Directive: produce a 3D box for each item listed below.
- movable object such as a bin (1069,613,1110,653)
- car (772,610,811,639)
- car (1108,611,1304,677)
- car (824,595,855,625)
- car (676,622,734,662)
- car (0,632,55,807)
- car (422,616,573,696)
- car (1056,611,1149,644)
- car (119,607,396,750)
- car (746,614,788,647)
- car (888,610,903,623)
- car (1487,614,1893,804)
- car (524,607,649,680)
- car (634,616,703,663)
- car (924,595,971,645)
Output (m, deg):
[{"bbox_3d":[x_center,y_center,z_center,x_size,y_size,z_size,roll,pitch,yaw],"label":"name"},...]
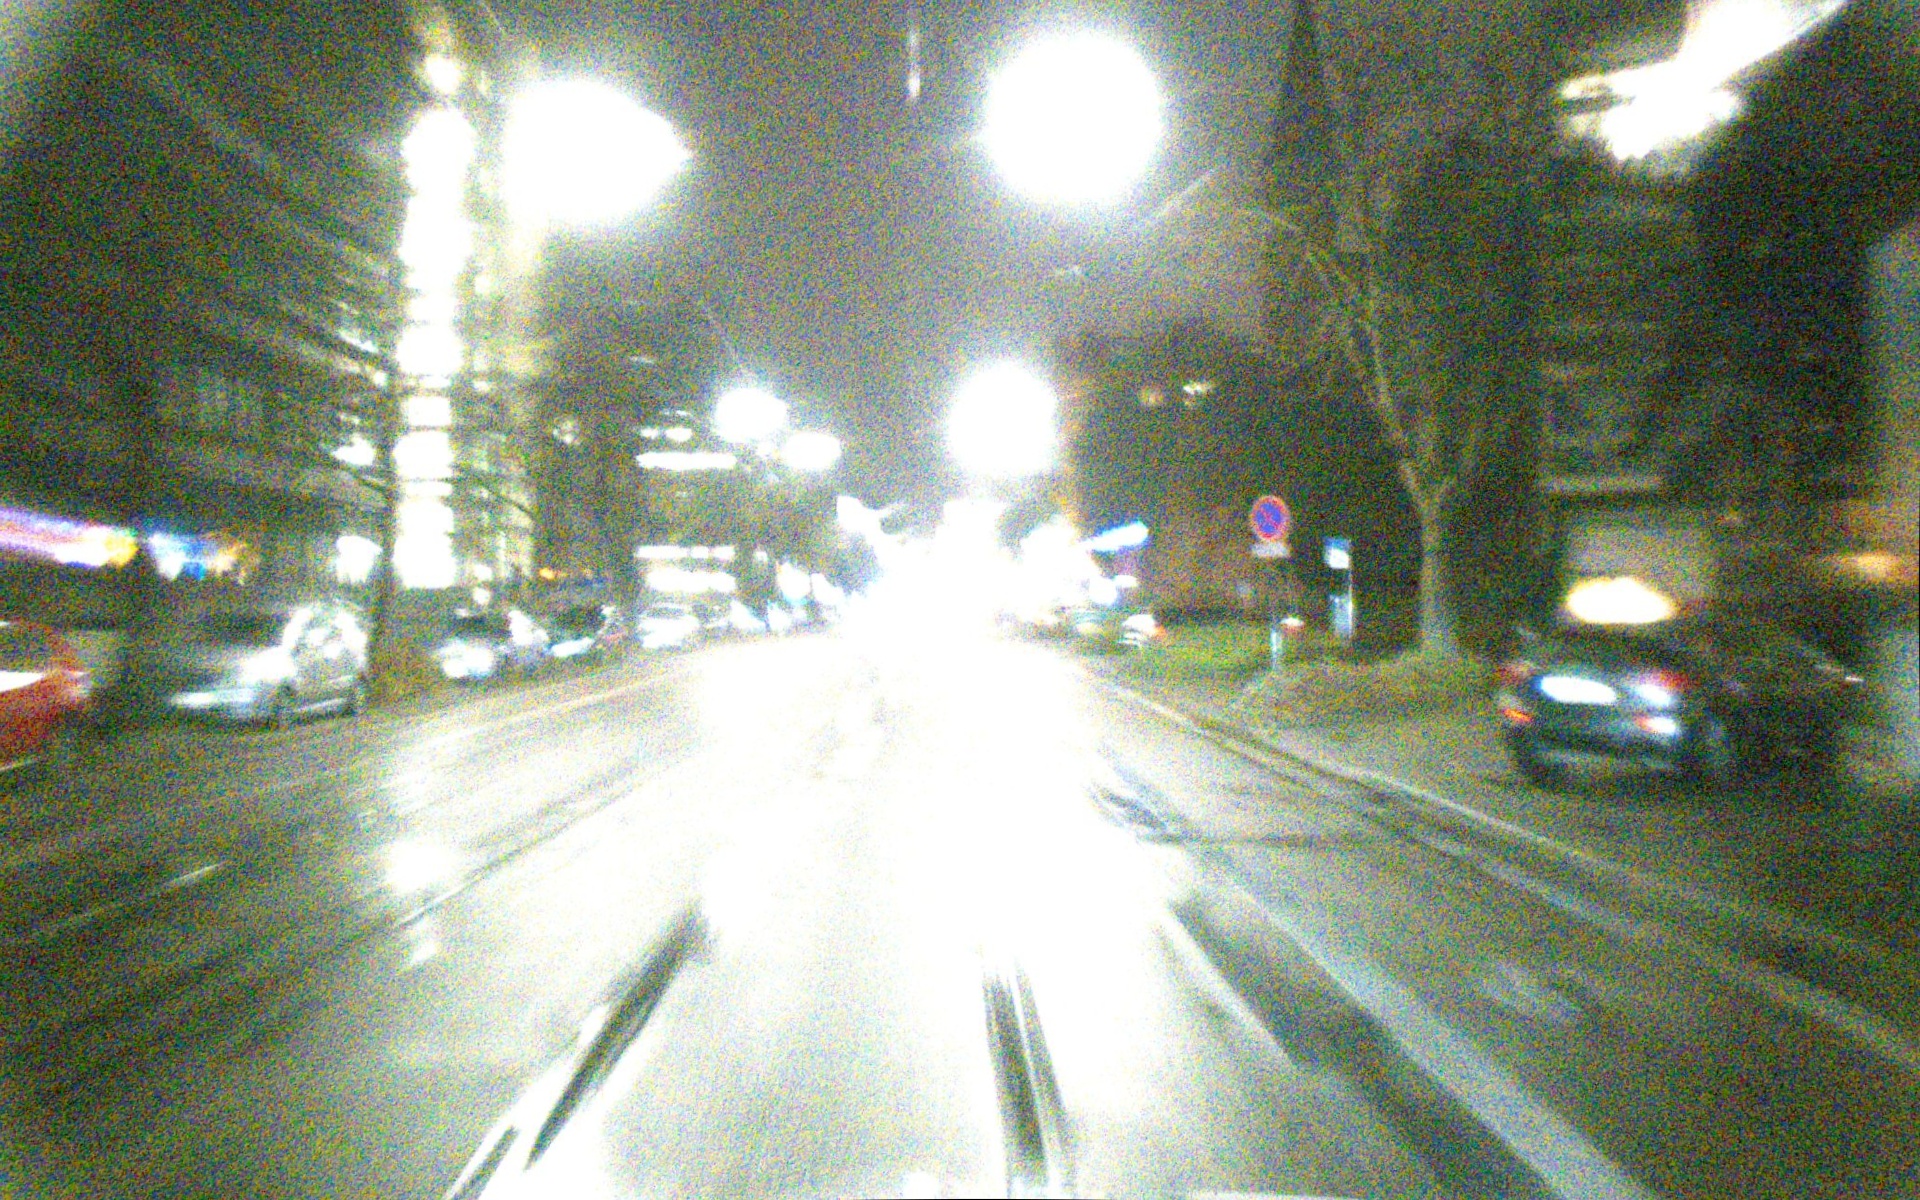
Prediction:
[{"bbox_3d":[4.802,1.219,61.475,1.296,1.433,1.158,-1,-1,-6],"label":"movable object such as a bin"},{"bbox_3d":[-10.101,1.460,99.237,1.943,1.660,4.516,0,-1,-1],"label":"car"},{"bbox_3d":[6.129,1.068,41.220,4.519,1.501,1.828,-1,0,-21],"label":"car"},{"bbox_3d":[-10.834,0.894,148.795,2.140,2.637,6.392,0,0,1],"label":"car"},{"bbox_3d":[-9.658,1.571,62.843,1.803,1.448,4.205,0,-1,-4],"label":"car"},{"bbox_3d":[-8.965,0.995,12.895,1.684,1.481,3.949,0,-1,-1],"label":"car"},{"bbox_3d":[-9.021,1.057,32.632,1.696,1.463,4.625,0,-1,-1],"label":"car"},{"bbox_3d":[6.860,1.315,79.575,4.043,1.564,1.944,1,-1,-26],"label":"car"},{"bbox_3d":[-9.157,0.949,21.979,1.773,1.606,4.352,3,0,-1],"label":"car"},{"bbox_3d":[-9.922,1.567,85.297,1.843,1.572,4.396,4,-1,-4],"label":"car"},{"bbox_3d":[-7.868,1.989,202.940,1.740,1.544,4.050,0,0,-1],"label":"car"},{"bbox_3d":[6.718,0.873,15.017,4.300,1.494,1.657,0,-1,-40],"label":"car"},{"bbox_3d":[-9.288,1.066,41.561,2.100,1.648,4.588,3,-1,-1],"label":"car"},{"bbox_3d":[-9.362,1.245,53.362,1.738,1.465,4.603,0,-1,-4],"label":"car"},{"bbox_3d":[-0.651,1.003,81.582,2.199,2.402,4.391,0,-1,-2],"label":"car"}]
